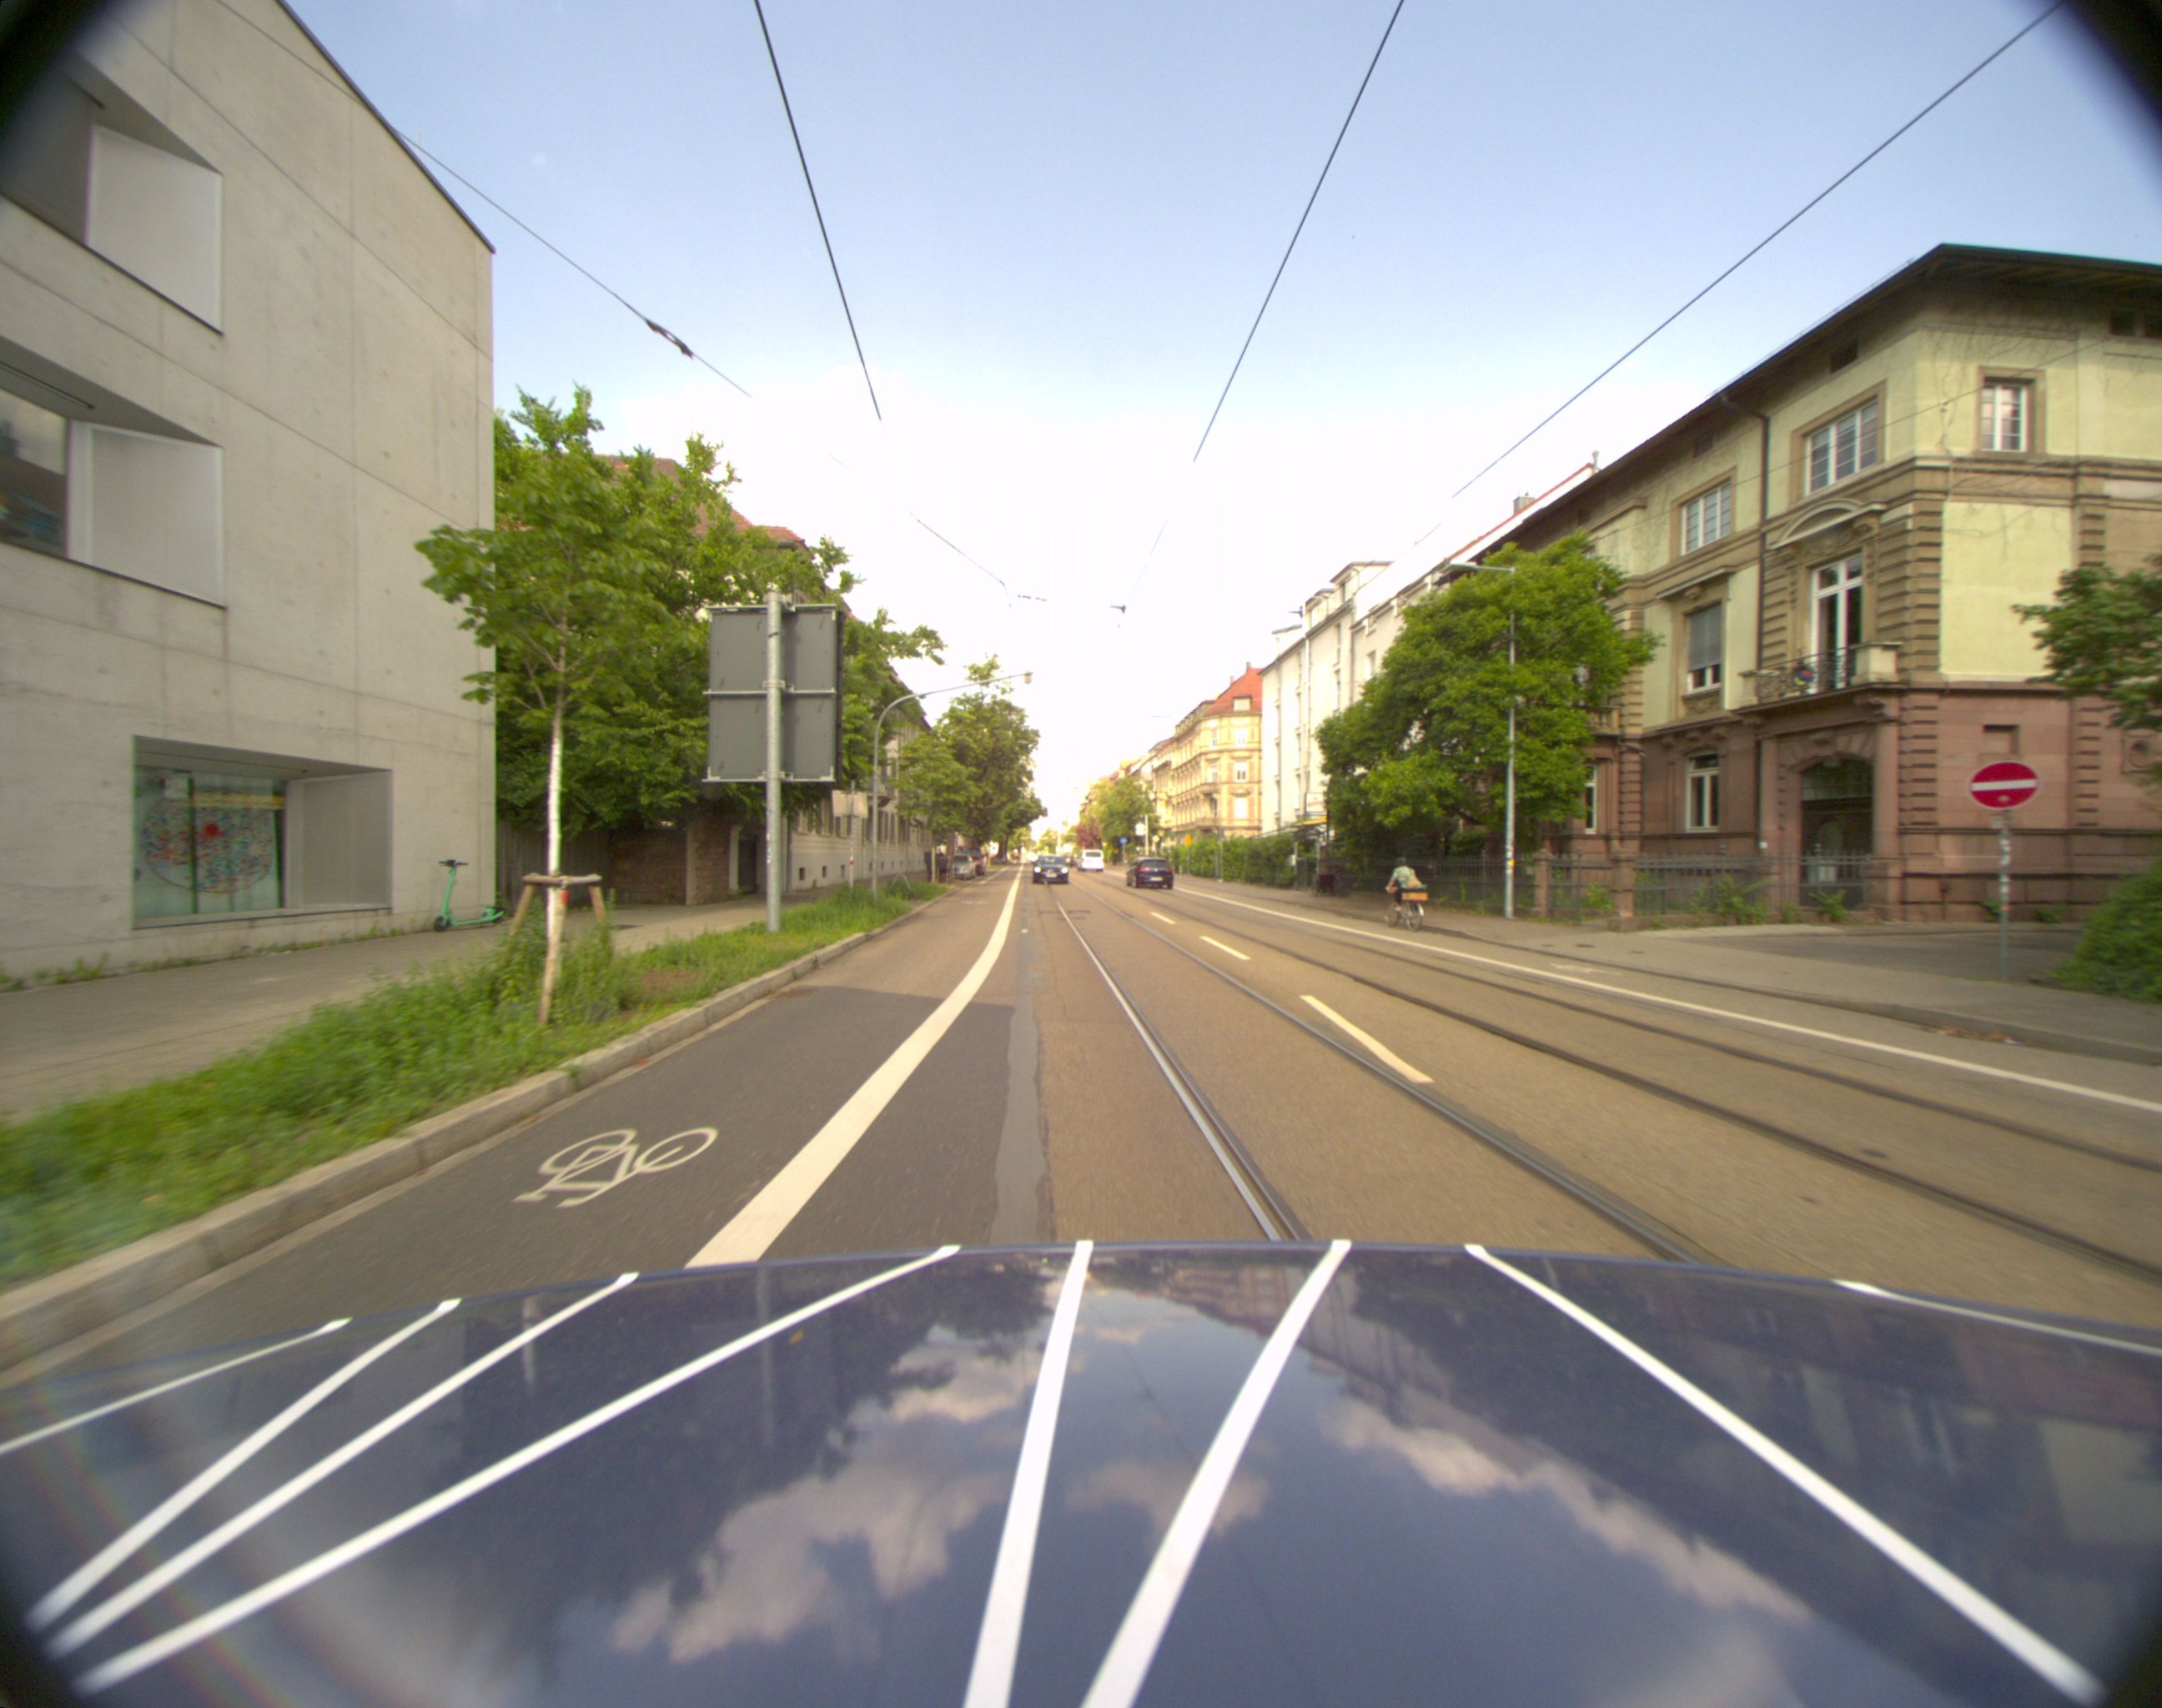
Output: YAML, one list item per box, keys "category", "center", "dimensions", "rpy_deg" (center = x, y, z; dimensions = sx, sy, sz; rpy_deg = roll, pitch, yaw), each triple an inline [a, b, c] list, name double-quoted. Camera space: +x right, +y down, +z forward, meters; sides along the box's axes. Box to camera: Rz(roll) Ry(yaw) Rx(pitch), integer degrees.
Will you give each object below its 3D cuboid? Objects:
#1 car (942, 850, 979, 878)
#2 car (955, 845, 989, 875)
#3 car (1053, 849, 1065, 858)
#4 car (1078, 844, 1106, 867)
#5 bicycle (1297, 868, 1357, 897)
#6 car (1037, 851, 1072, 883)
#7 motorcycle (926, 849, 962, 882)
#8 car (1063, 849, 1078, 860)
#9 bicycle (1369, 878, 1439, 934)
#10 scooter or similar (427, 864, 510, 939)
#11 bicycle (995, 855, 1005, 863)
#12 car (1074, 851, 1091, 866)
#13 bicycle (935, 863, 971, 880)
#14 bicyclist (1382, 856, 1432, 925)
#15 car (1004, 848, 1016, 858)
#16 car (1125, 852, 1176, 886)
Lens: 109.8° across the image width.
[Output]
- category: "car"
  center: [-6.880, 0.540, 43.810]
  dimensions: [1.712, 1.490, 4.786]
  rpy_deg: [0, 0, -4]
- category: "car"
  center: [-7.429, 0.365, 52.141]
  dimensions: [1.901, 1.929, 4.948]
  rpy_deg: [0, 0, -4]
- category: "car"
  center: [-3.365, -0.049, 117.359]
  dimensions: [1.633, 1.399, 4.127]
  rpy_deg: [0, 0, -4]
- category: "car"
  center: [0.912, 0.107, 66.439]
  dimensions: [1.903, 1.896, 5.381]
  rpy_deg: [0, 0, -5]
- category: "bicycle"
  center: [9.330, 1.050, 28.996]
  dimensions: [1.146, 0.903, 2.987]
  rpy_deg: [-3, 1, -4]
- category: "car"
  center: [-1.440, 0.647, 39.399]
  dimensions: [1.694, 1.568, 4.155]
  rpy_deg: [0, 0, -4]
- category: "motorcycle"
  center: [-6.548, 0.512, 36.421]
  dimensions: [0.982, 1.533, 2.441]
  rpy_deg: [0, 1, 7]
- category: "car"
  center: [-1.431, 0.037, 103.201]
  dimensions: [1.732, 1.531, 4.274]
  rpy_deg: [1, 0, -5]
- category: "bicycle"
  center: [7.425, 1.167, 17.565]
  dimensions: [0.604, 1.091, 2.022]
  rpy_deg: [6, 0, -1]
- category: "scooter or similar"
  center: [-10.169, 0.758, 12.646]
  dimensions: [0.323, 1.174, 1.149]
  rpy_deg: [0, 1, 9]
- category: "bicycle"
  center: [-10.817, 0.652, 101.153]
  dimensions: [1.271, 1.060, 0.478]
  rpy_deg: [0, 1, -5]
- category: "car"
  center: [0.176, 0.455, 84.225]
  dimensions: [1.636, 1.547, 3.820]
  rpy_deg: [0, 0, -4]
- category: "bicycle"
  center: [-6.735, 0.910, 39.964]
  dimensions: [1.781, 0.897, 0.691]
  rpy_deg: [1, 1, -1]
- category: "bicyclist"
  center: [7.460, 0.816, 17.417]
  dimensions: [0.601, 1.484, 0.882]
  rpy_deg: [6, 0, -1]
- category: "car"
  center: [-10.268, -0.119, 109.919]
  dimensions: [1.590, 1.436, 3.896]
  rpy_deg: [0, 0, -4]
- category: "car"
  center: [3.179, 0.653, 35.386]
  dimensions: [1.693, 1.394, 3.928]
  rpy_deg: [3, 0, -4]
